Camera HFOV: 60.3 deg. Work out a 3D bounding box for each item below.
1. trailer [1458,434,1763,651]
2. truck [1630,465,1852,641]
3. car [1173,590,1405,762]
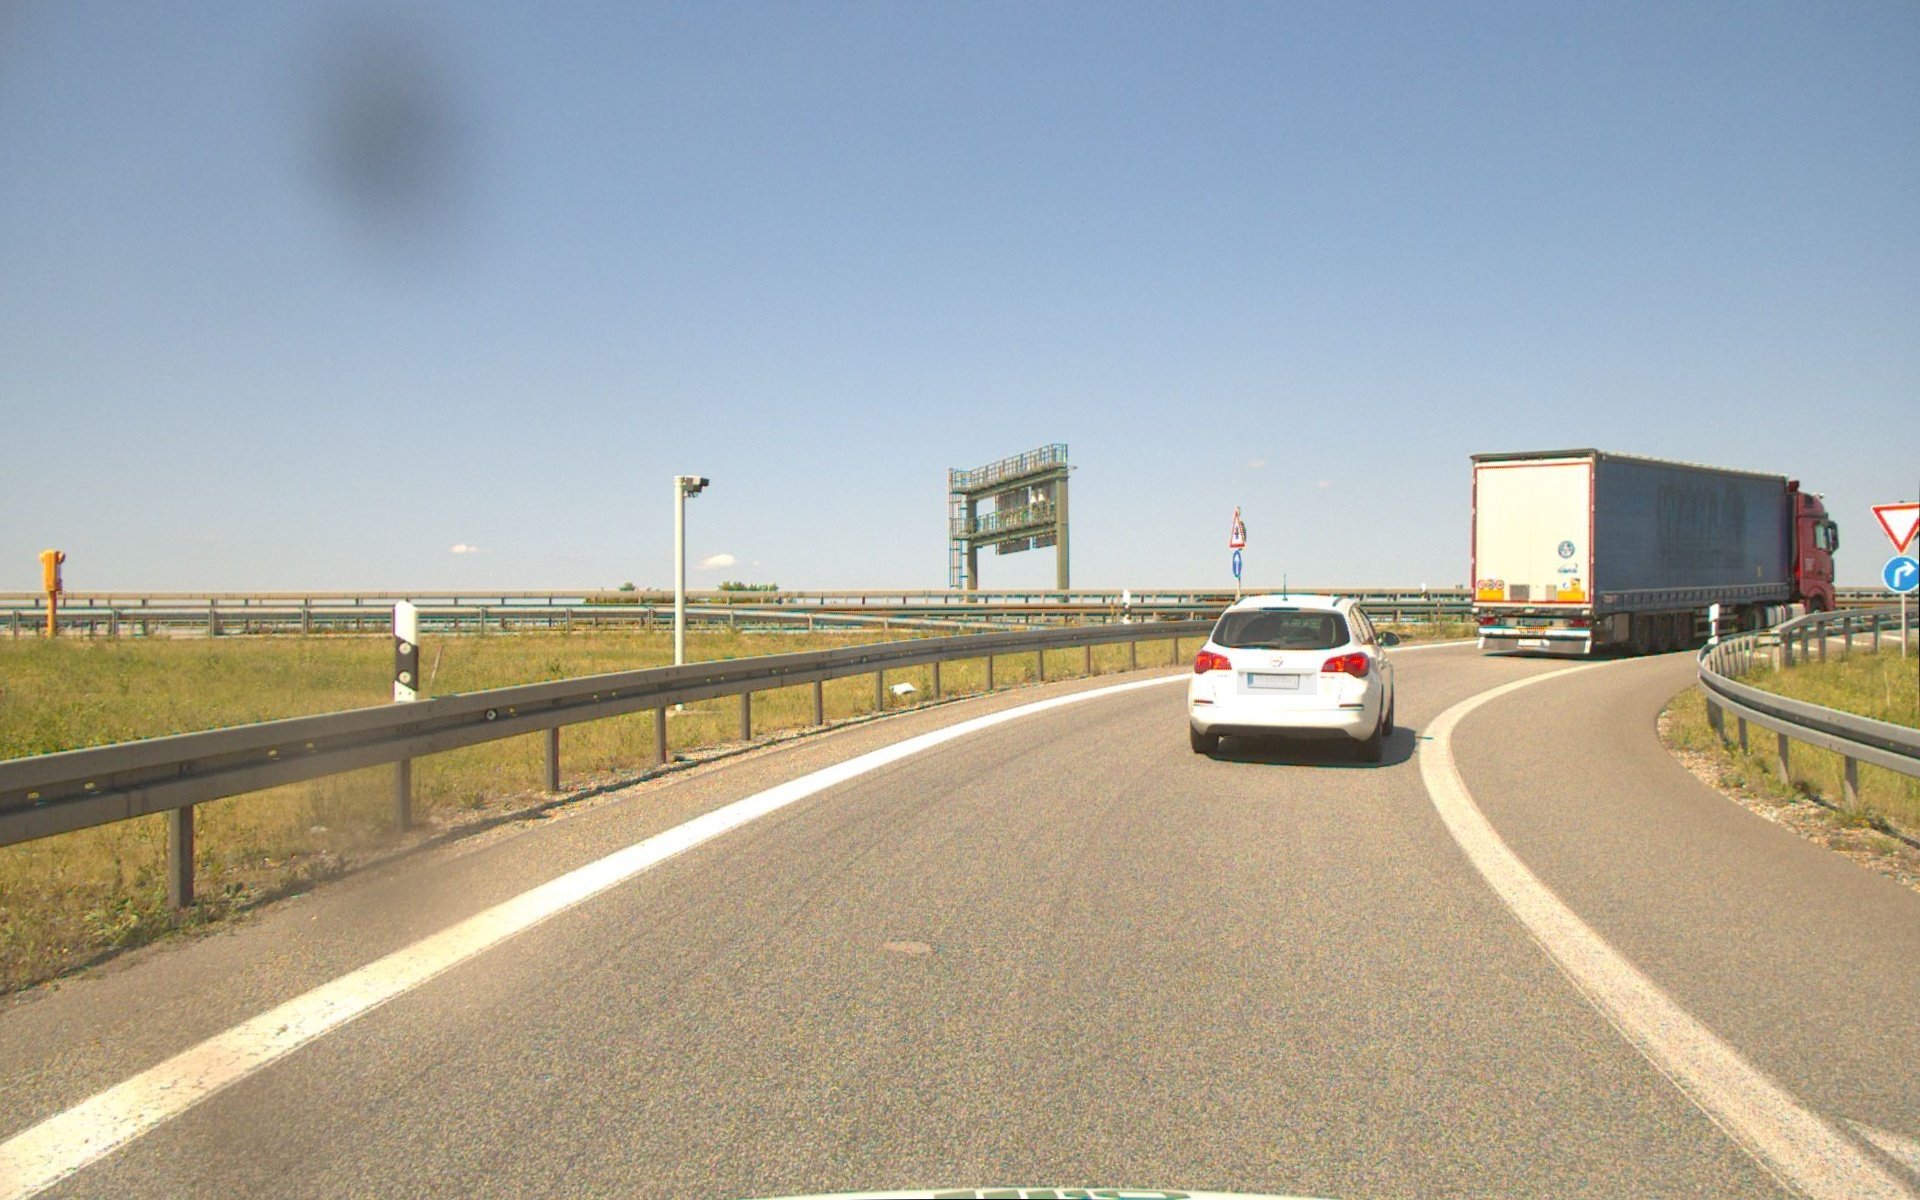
[{"bbox_3d":[14.944,-1.044,37.209,2.869,4.218,11.194,1,0,40],"label":"trailer"},{"bbox_3d":[20.370,-1.082,42.969,6.869,4.218,2.876,1,-1,-43],"label":"truck"},{"bbox_3d":[3.412,0.659,16.538,1.815,1.468,4.374,0,0,17],"label":"car"}]
